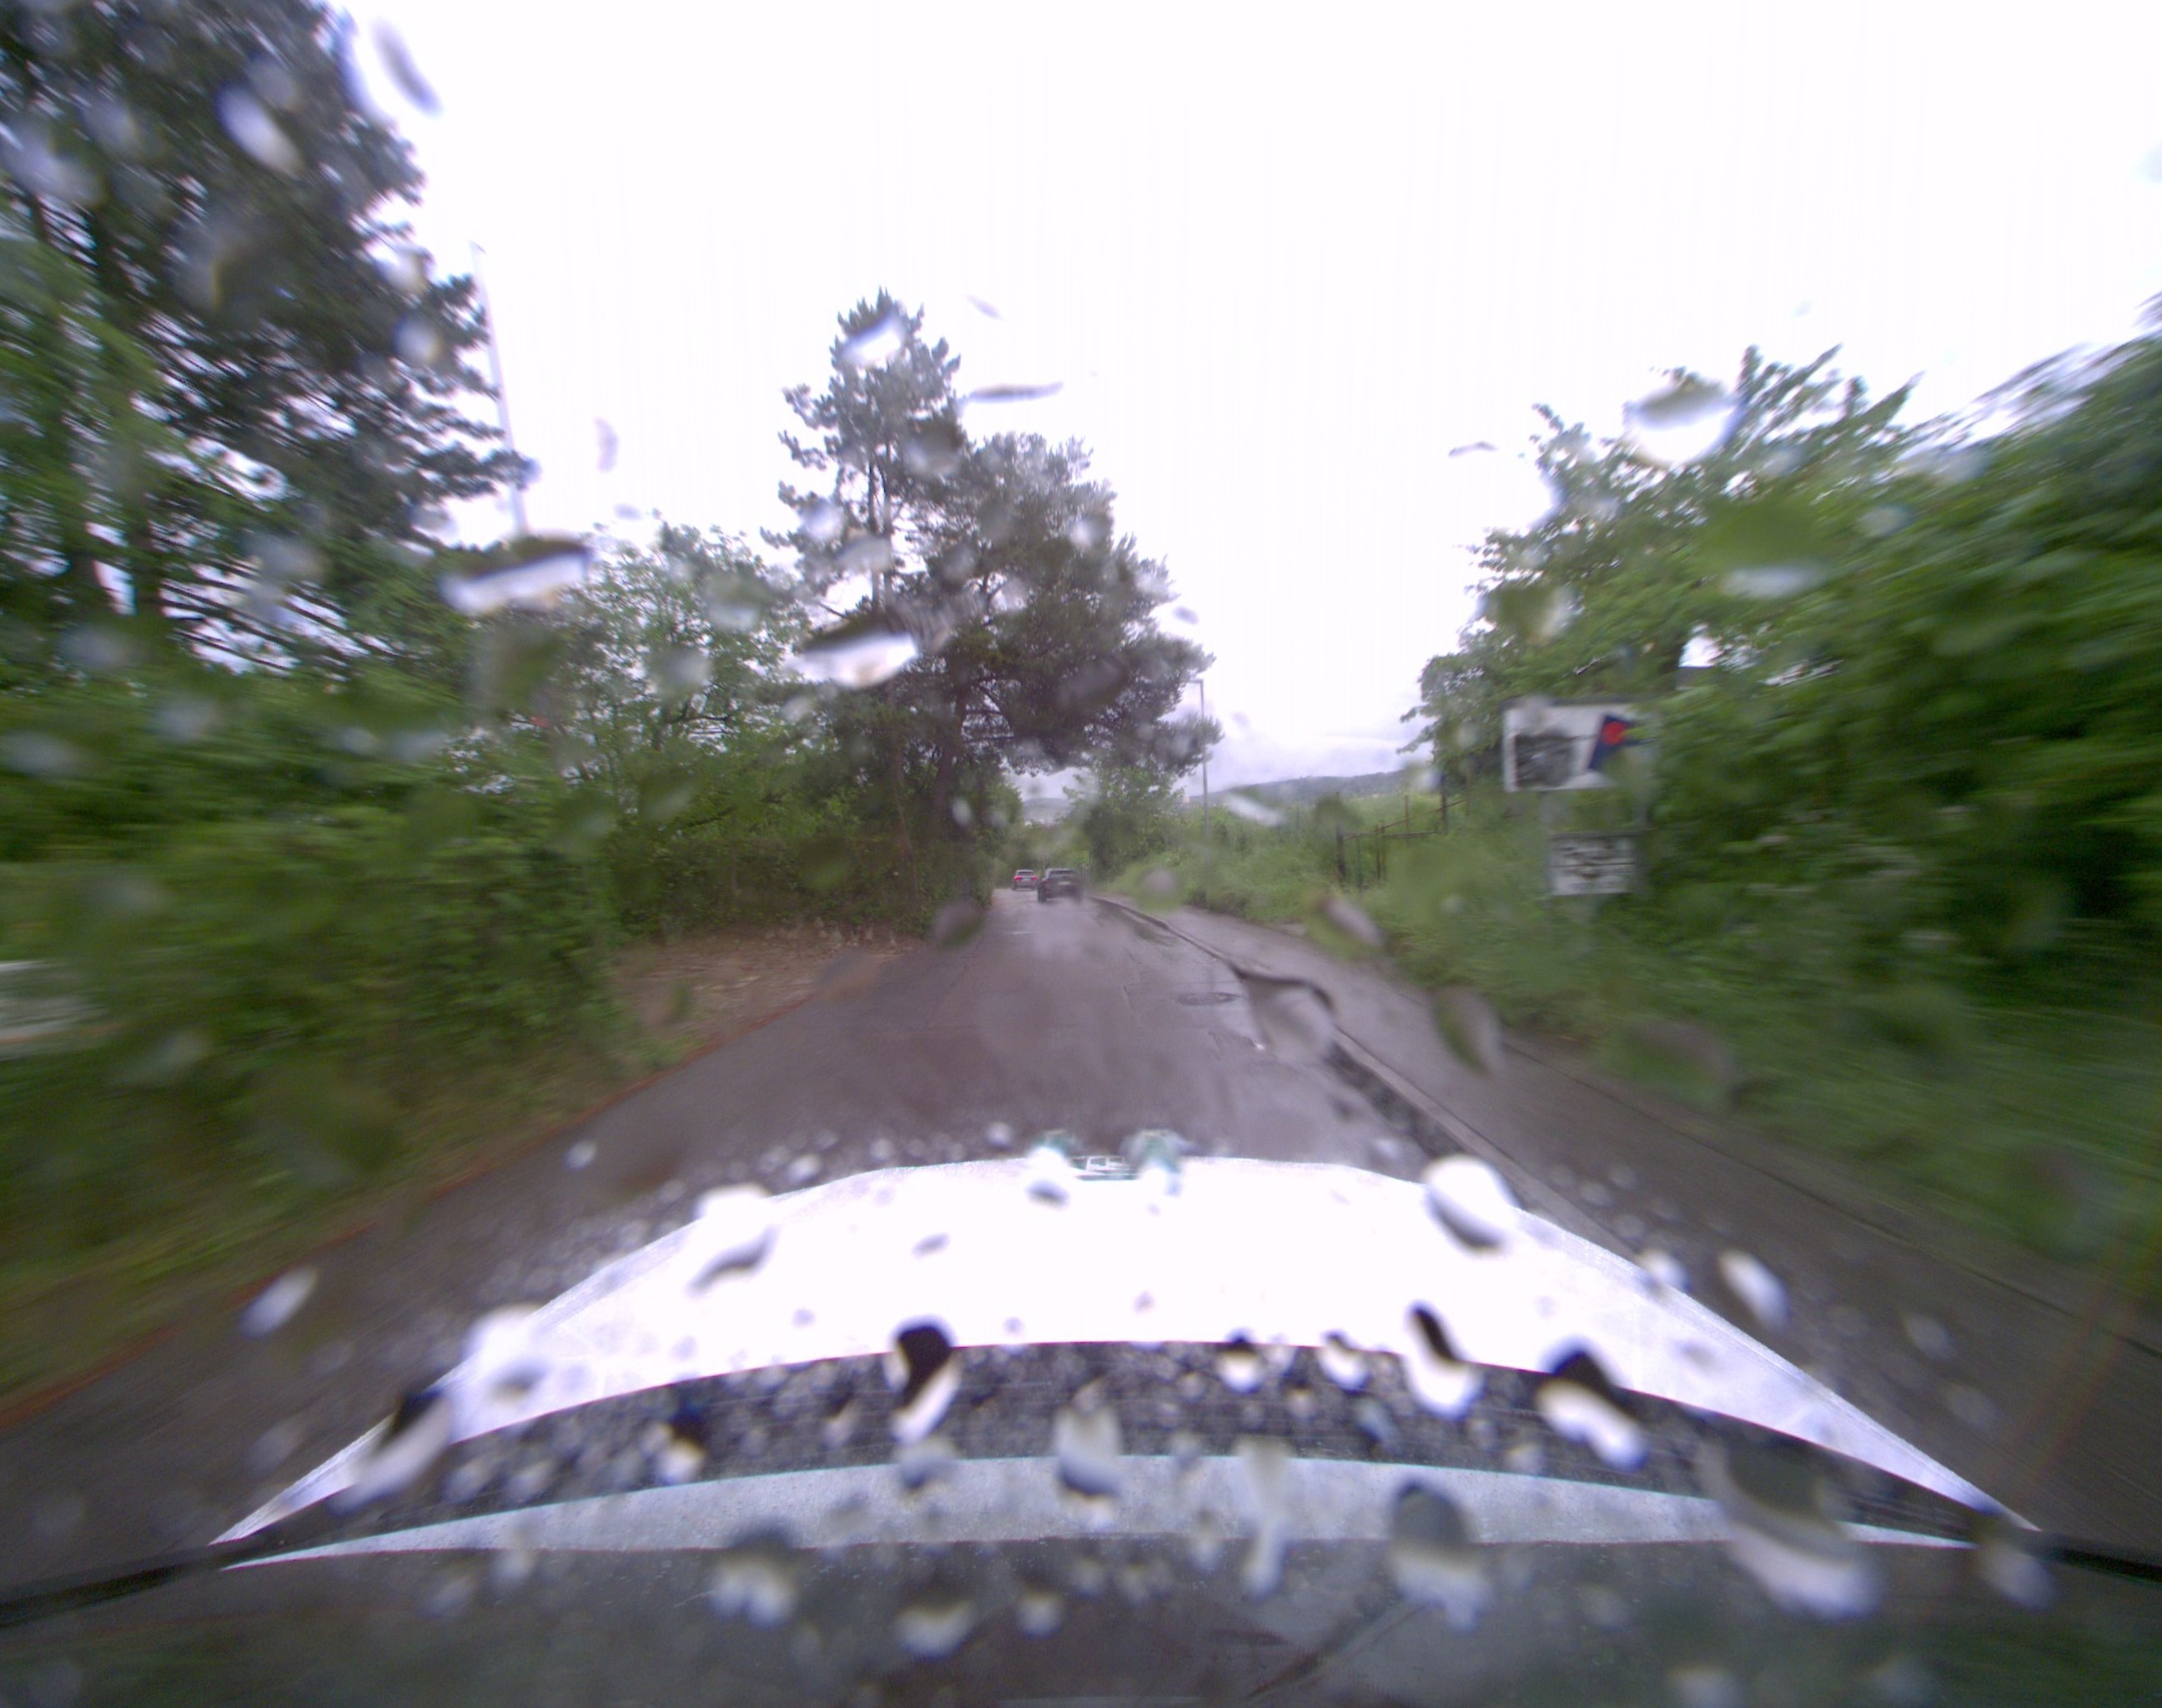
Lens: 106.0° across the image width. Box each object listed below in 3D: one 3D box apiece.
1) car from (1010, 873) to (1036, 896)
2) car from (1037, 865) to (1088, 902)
[{"bbox_3d":[-4.459,2.296,61.966,1.677,1.565,3.783,-1,-1,-8],"label":"car"},{"bbox_3d":[-0.875,1.248,35.208,1.833,1.464,3.991,-2,-1,-6],"label":"car"}]
